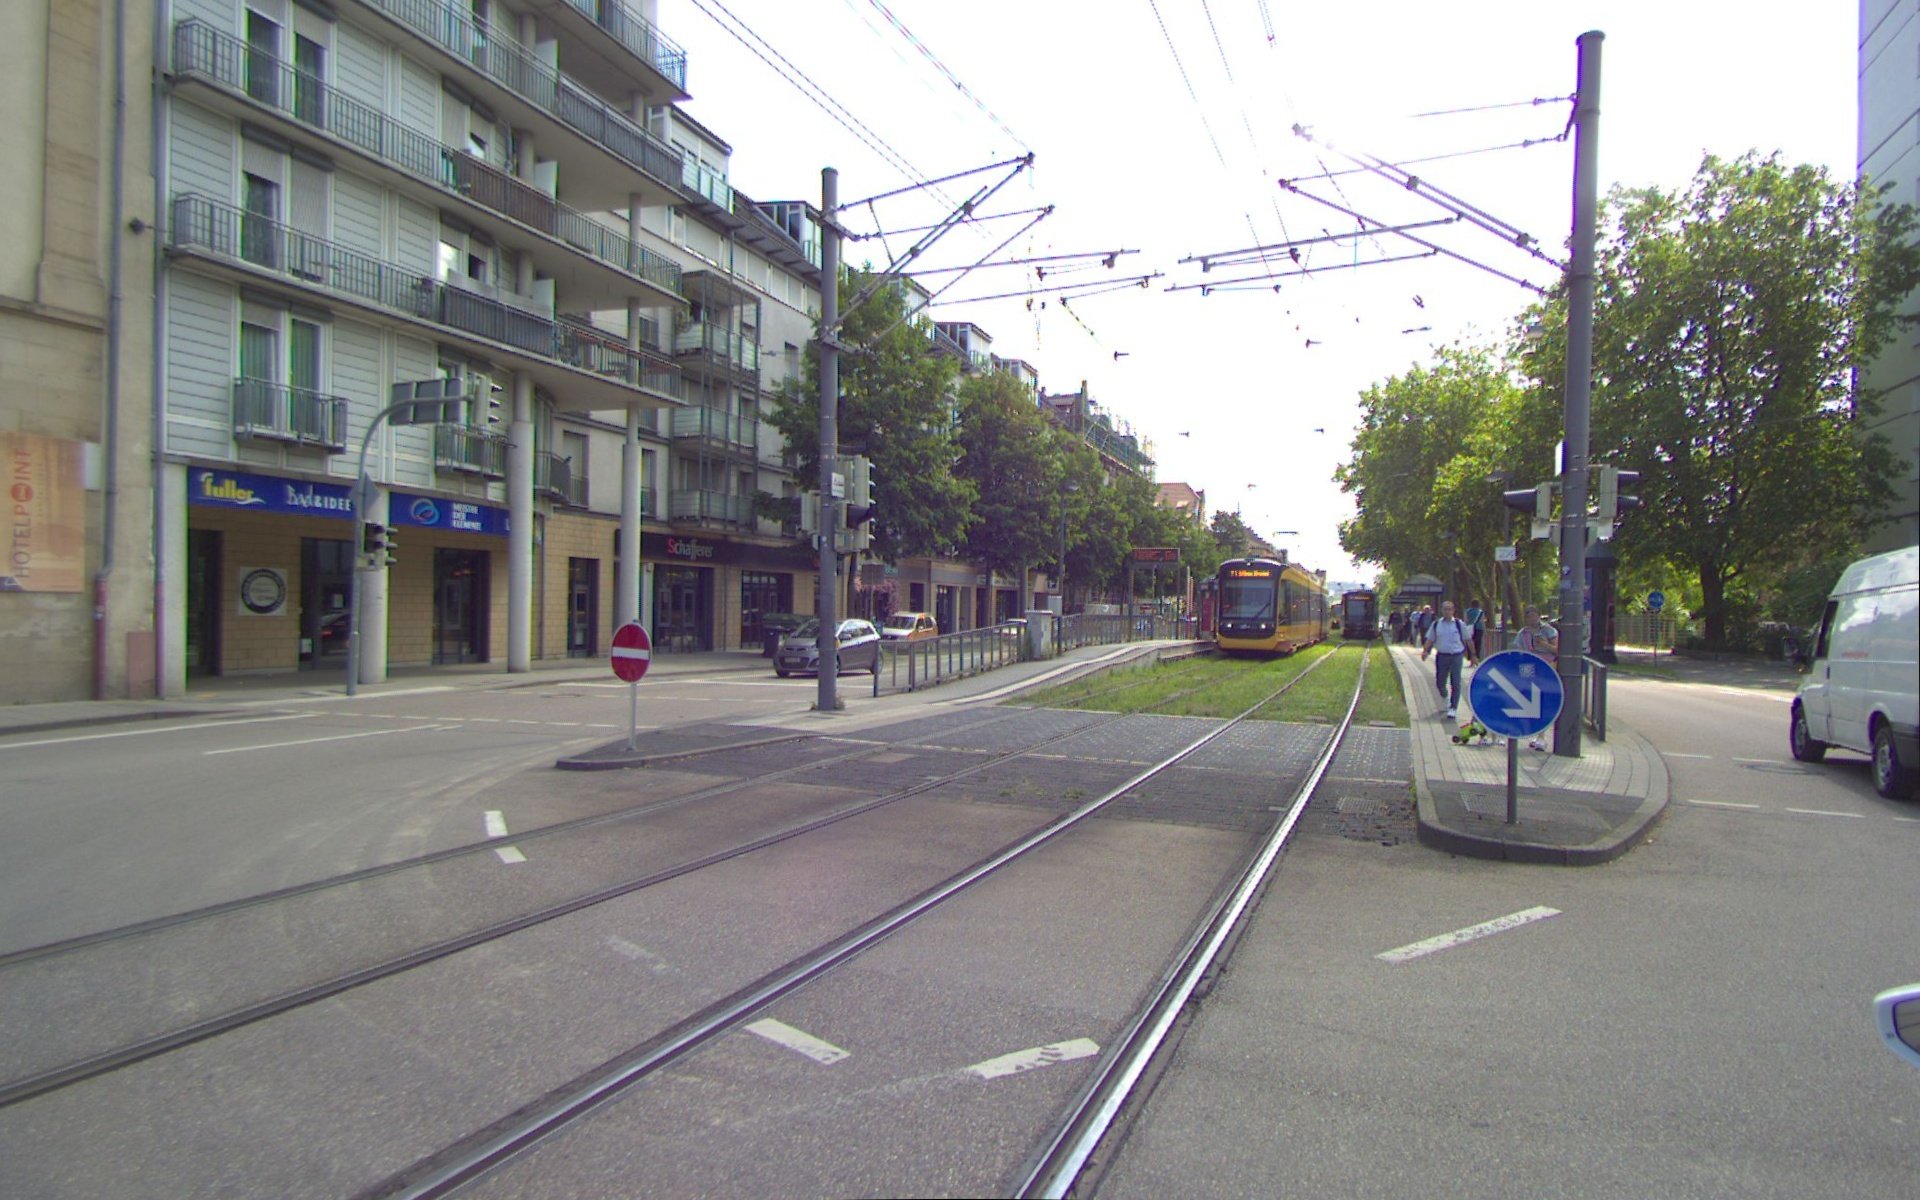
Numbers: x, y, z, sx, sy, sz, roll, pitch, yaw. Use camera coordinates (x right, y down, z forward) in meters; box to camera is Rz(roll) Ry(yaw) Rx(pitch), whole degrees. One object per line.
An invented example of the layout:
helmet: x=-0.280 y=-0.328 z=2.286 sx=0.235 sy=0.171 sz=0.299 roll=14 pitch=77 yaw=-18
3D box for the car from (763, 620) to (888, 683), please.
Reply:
car: x=-3.378 y=1.268 z=25.880 sx=1.607 sy=1.458 sz=3.642 roll=0 pitch=-1 yaw=22

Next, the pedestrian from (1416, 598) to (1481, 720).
pedestrian: x=7.562 y=0.888 z=15.596 sx=0.834 sy=1.804 sz=1.044 roll=0 pitch=0 yaw=23

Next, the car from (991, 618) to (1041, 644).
car: x=3.096 y=1.662 z=54.662 sx=1.691 sy=1.389 sz=3.476 roll=0 pitch=-1 yaw=22

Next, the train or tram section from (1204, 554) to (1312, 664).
train or tram section: x=12.107 y=0.377 z=39.804 sx=2.762 sy=3.632 sz=13.011 roll=1 pitch=-1 yaw=22

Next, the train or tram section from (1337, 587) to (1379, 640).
train or tram section: x=30.149 y=1.017 z=75.883 sx=2.680 sy=3.632 sz=13.011 roll=1 pitch=-1 yaw=22

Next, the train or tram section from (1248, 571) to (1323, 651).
train or tram section: x=16.568 y=0.567 z=50.659 sx=2.751 sy=3.632 sz=10.400 roll=1 pitch=-1 yaw=23

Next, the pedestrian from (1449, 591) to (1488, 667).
pedestrian: x=13.095 y=0.742 z=25.874 sx=0.813 sy=1.924 sz=0.846 roll=1 pitch=-1 yaw=23

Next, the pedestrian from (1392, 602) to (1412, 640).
pedestrian: x=21.636 y=1.004 z=49.180 sx=0.872 sy=1.825 sz=1.494 roll=0 pitch=0 yaw=22

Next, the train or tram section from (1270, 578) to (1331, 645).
train or tram section: x=21.013 y=0.716 z=61.528 sx=2.680 sy=3.632 sz=13.011 roll=1 pitch=-1 yaw=22

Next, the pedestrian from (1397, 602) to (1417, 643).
pedestrian: x=21.074 y=1.051 z=47.380 sx=0.797 sy=1.897 sz=1.030 roll=0 pitch=0 yaw=22

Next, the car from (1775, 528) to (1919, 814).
car: x=9.856 y=0.618 z=9.937 sx=2.017 sy=2.364 sz=4.706 roll=0 pitch=-1 yaw=29

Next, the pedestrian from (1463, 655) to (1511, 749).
pedestrian: x=6.326 y=1.213 z=12.065 sx=0.414 sy=1.077 sz=0.434 roll=0 pitch=0 yaw=42

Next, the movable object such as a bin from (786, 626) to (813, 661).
movable object such as a bin: x=-5.326 y=1.425 z=33.334 sx=0.581 sy=1.132 sz=0.788 roll=0 pitch=-1 yaw=18

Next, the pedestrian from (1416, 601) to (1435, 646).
pedestrian: x=19.775 y=0.983 z=42.692 sx=0.690 sy=1.874 sz=0.789 roll=0 pitch=-1 yaw=22

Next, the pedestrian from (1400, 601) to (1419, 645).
pedestrian: x=19.224 y=0.979 z=42.988 sx=0.690 sy=1.874 sz=0.908 roll=0 pitch=-1 yaw=22

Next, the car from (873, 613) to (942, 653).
car: x=-2.172 y=1.362 z=42.141 sx=1.626 sy=1.600 sz=3.476 roll=0 pitch=-1 yaw=21

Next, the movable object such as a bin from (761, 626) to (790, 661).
movable object such as a bin: x=-6.162 y=1.436 z=33.572 sx=0.637 sy=1.132 sz=0.788 roll=0 pitch=-1 yaw=18

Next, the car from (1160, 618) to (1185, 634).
car: x=20.150 y=2.453 z=95.114 sx=1.691 sy=1.389 sz=3.703 roll=0 pitch=-1 yaw=22

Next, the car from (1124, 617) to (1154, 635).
car: x=14.481 y=2.062 z=81.095 sx=1.691 sy=1.389 sz=3.476 roll=0 pitch=-1 yaw=22

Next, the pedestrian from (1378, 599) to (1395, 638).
pedestrian: x=20.111 y=0.867 z=47.324 sx=0.700 sy=1.825 sz=1.132 roll=0 pitch=0 yaw=22

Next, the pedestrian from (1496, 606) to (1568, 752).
pedestrian: x=6.878 y=0.923 z=12.076 sx=0.617 sy=1.688 sz=0.672 roll=0 pitch=0 yaw=42

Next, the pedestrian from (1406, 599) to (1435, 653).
pedestrian: x=15.675 y=0.887 z=34.184 sx=0.844 sy=1.798 sz=0.876 roll=1 pitch=-1 yaw=23

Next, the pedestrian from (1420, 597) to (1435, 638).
pedestrian: x=22.114 y=0.829 z=47.514 sx=0.462 sy=1.926 sz=0.537 roll=0 pitch=0 yaw=-2
